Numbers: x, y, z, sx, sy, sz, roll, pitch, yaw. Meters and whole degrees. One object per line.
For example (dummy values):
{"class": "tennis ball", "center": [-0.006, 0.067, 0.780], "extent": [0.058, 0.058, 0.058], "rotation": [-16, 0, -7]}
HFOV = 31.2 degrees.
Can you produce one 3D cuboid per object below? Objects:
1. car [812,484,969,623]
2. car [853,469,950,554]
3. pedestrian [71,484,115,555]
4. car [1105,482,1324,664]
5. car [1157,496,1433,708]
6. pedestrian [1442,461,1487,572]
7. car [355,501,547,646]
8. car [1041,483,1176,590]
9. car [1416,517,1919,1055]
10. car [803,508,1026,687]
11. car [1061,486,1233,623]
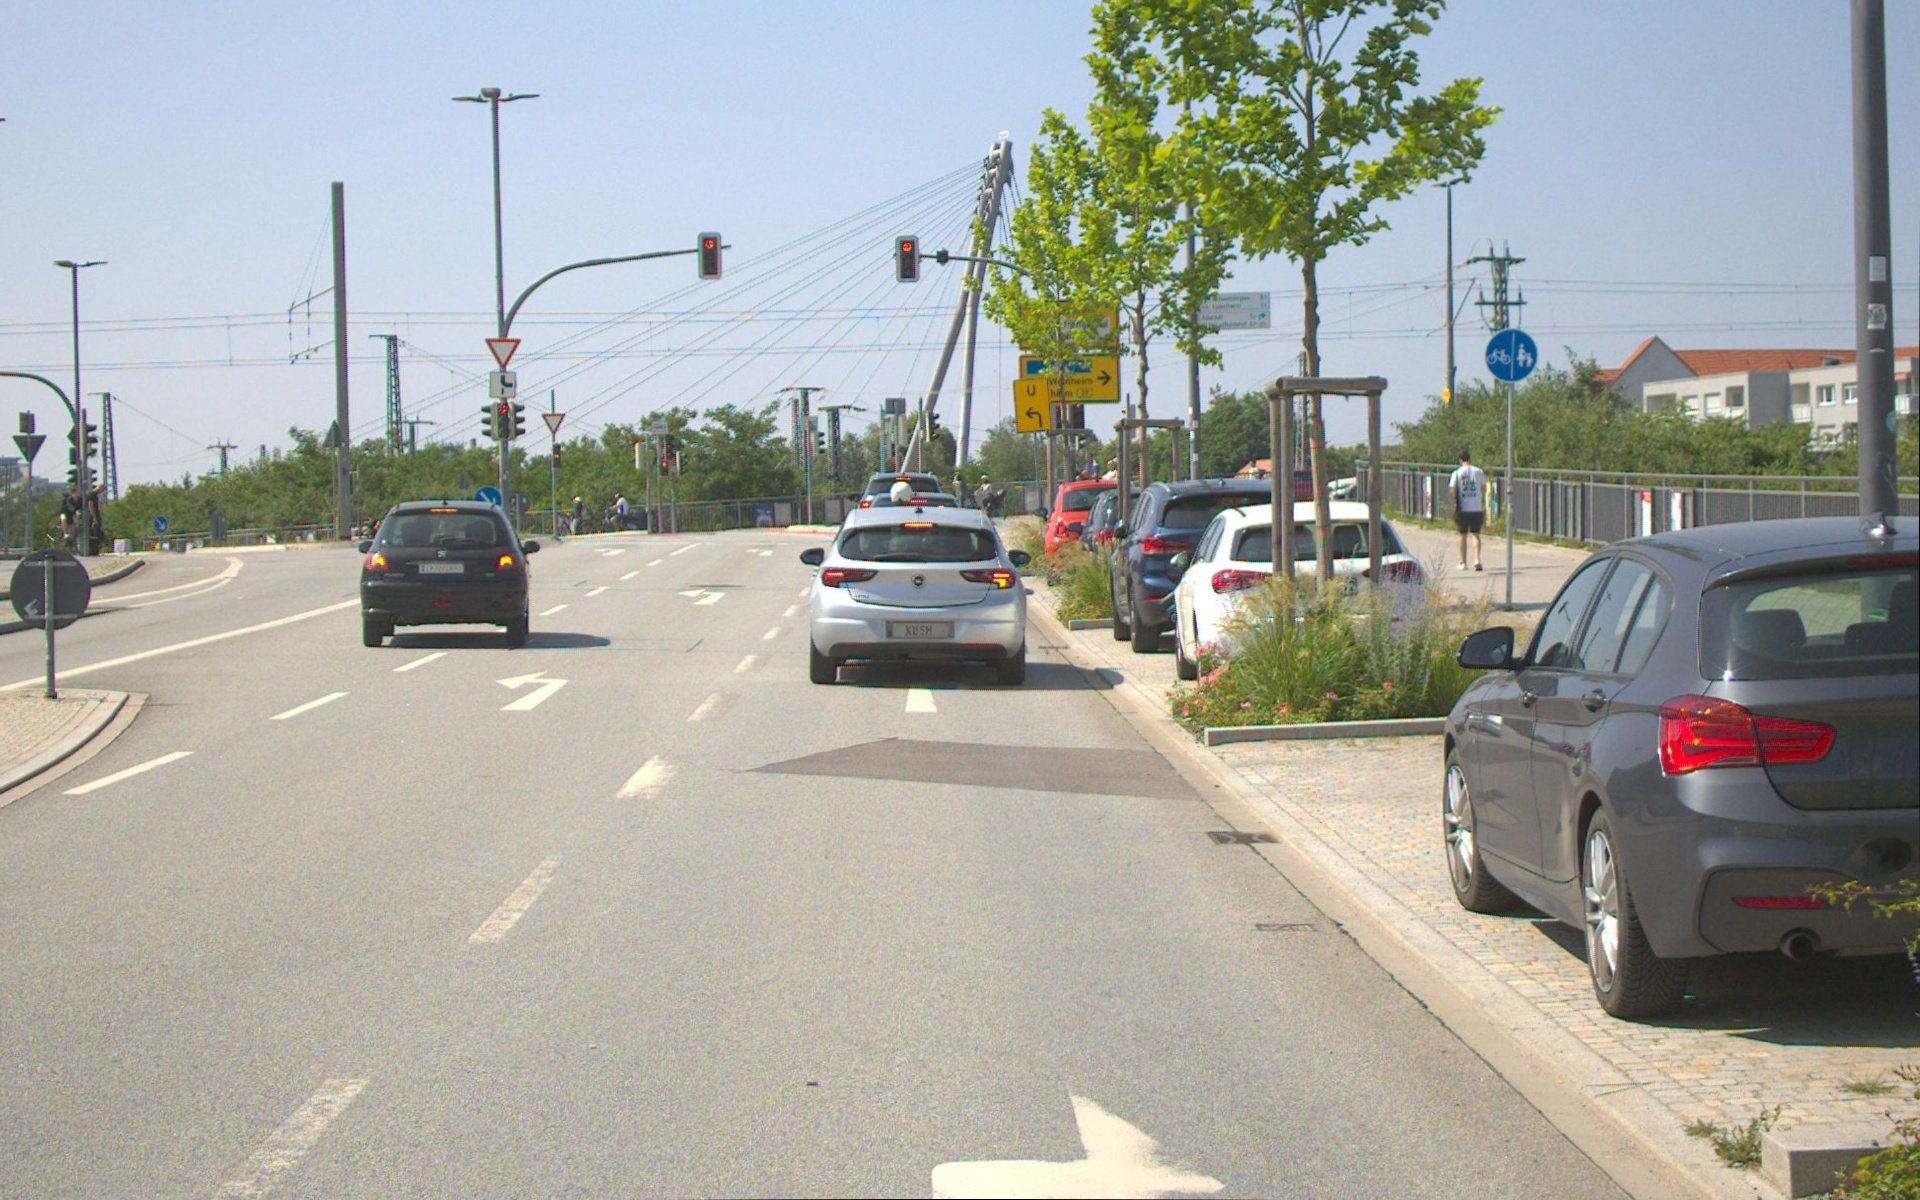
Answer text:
{"class": "car", "center": [-0.823, -0.602, 41.506], "extent": [1.778, 1.563, 4.001], "rotation": [-1, 2, -1]}
{"class": "car", "center": [-1.104, -1.713, 65.590], "extent": [1.778, 1.563, 4.001], "rotation": [-1, 2, -1]}
{"class": "pedestrian", "center": [-19.964, -1.851, 79.164], "extent": [0.844, 1.641, 0.828], "rotation": [0, 1, -6]}
{"class": "car", "center": [2.420, -0.311, 33.435], "extent": [1.822, 1.611, 3.611], "rotation": [-2, 2, 0]}
{"class": "car", "center": [2.539, -0.040, 26.929], "extent": [1.696, 1.470, 4.206], "rotation": [-2, 1, 0]}
{"class": "pedestrian", "center": [7.219, -1.191, 49.187], "extent": [0.533, 1.570, 0.524], "rotation": [1, 0, 0]}
{"class": "car", "center": [-5.171, -0.304, 35.287], "extent": [1.619, 1.411, 3.728], "rotation": [0, 1, -3]}
{"class": "car", "center": [2.194, -0.964, 51.623], "extent": [1.778, 1.498, 4.000], "rotation": [-1, 1, -1]}
{"class": "car", "center": [2.642, 0.458, 11.245], "extent": [1.704, 1.397, 4.270], "rotation": [-2, 0, 0]}
{"class": "car", "center": [-0.387, -0.067, 29.455], "extent": [1.778, 1.437, 4.000], "rotation": [0, 1, -1]}
{"class": "car", "center": [2.297, -0.595, 43.050], "extent": [1.778, 1.498, 4.000], "rotation": [-5, 2, -1]}
